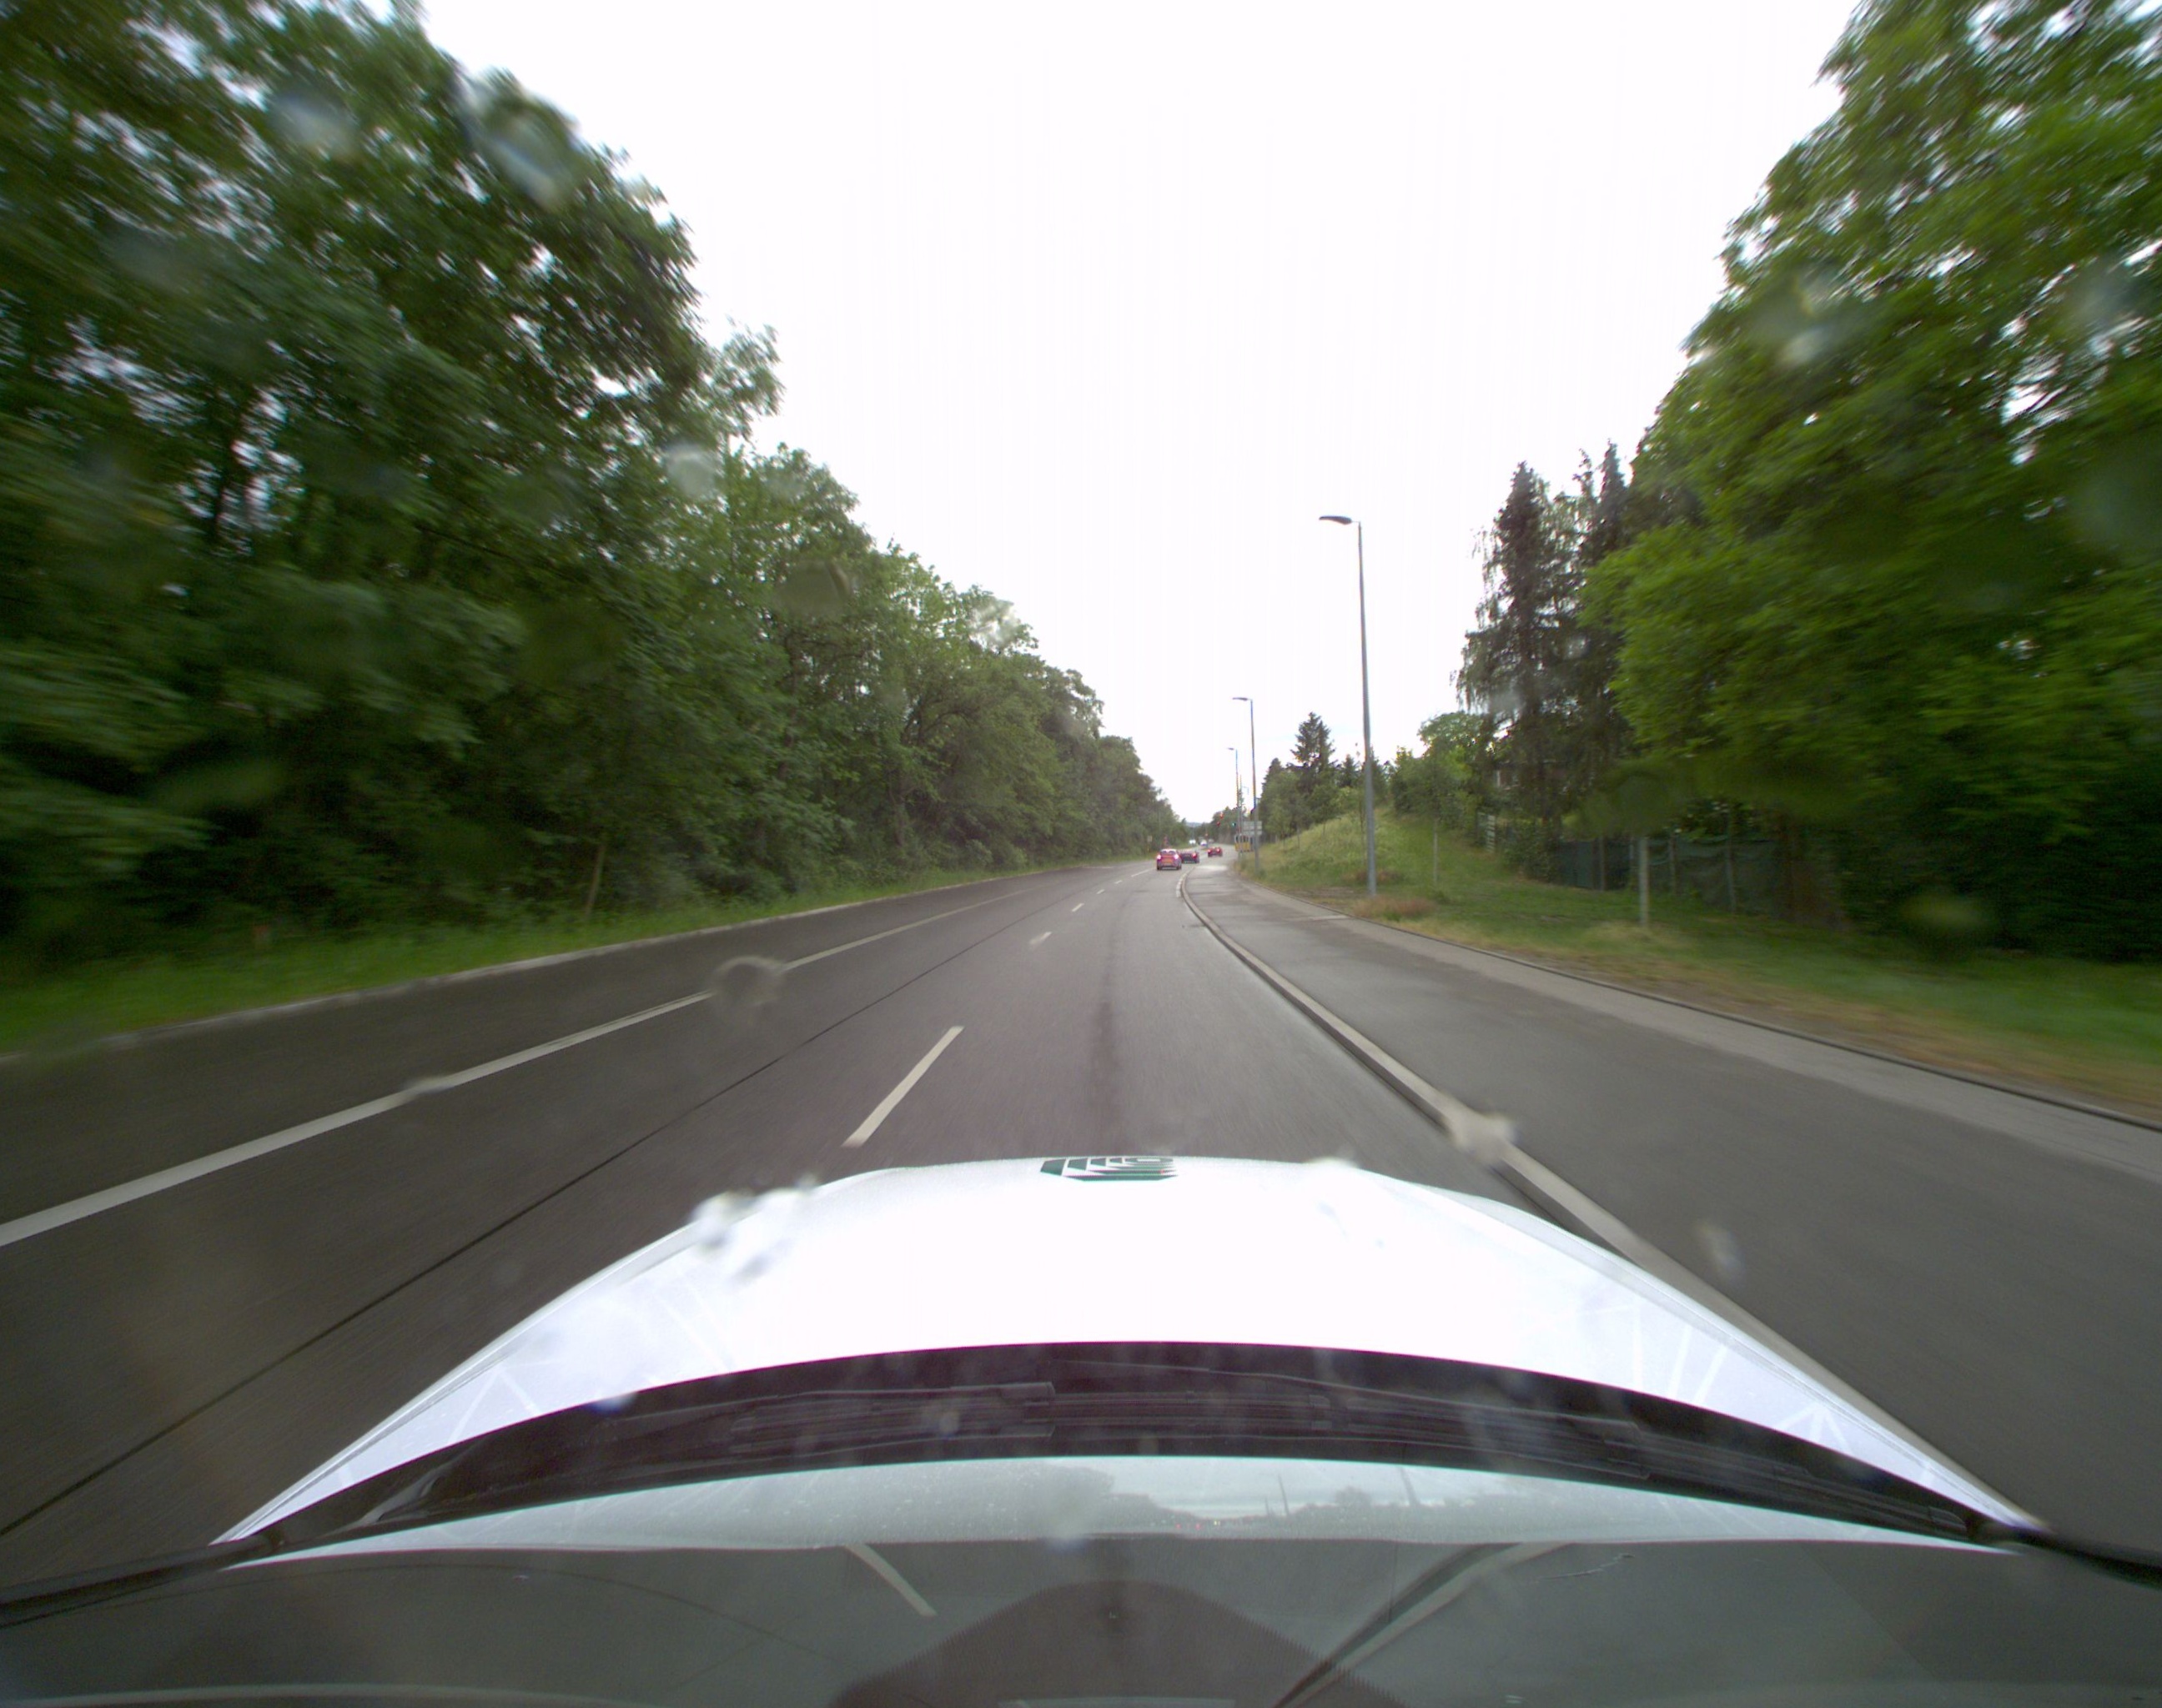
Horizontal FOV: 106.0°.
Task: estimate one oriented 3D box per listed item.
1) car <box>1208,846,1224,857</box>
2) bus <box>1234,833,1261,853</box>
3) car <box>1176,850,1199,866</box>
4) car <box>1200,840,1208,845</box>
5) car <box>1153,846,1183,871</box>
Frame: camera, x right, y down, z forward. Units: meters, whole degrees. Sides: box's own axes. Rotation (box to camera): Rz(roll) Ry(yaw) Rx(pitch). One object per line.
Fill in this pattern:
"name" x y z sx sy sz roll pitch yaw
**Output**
"car" 19.083 -0.367 115.127 1.980 1.552 4.013 -1 0 12
"bus" 27.749 -1.773 135.406 2.792 3.142 9.229 -1 0 22
"car" 10.971 0.401 83.563 1.914 1.486 3.813 -3 1 12
"car" 35.700 -3.400 236.161 1.983 1.420 4.007 -1 0 6
"car" 6.726 0.335 62.570 1.981 1.689 4.011 -3 1 9
